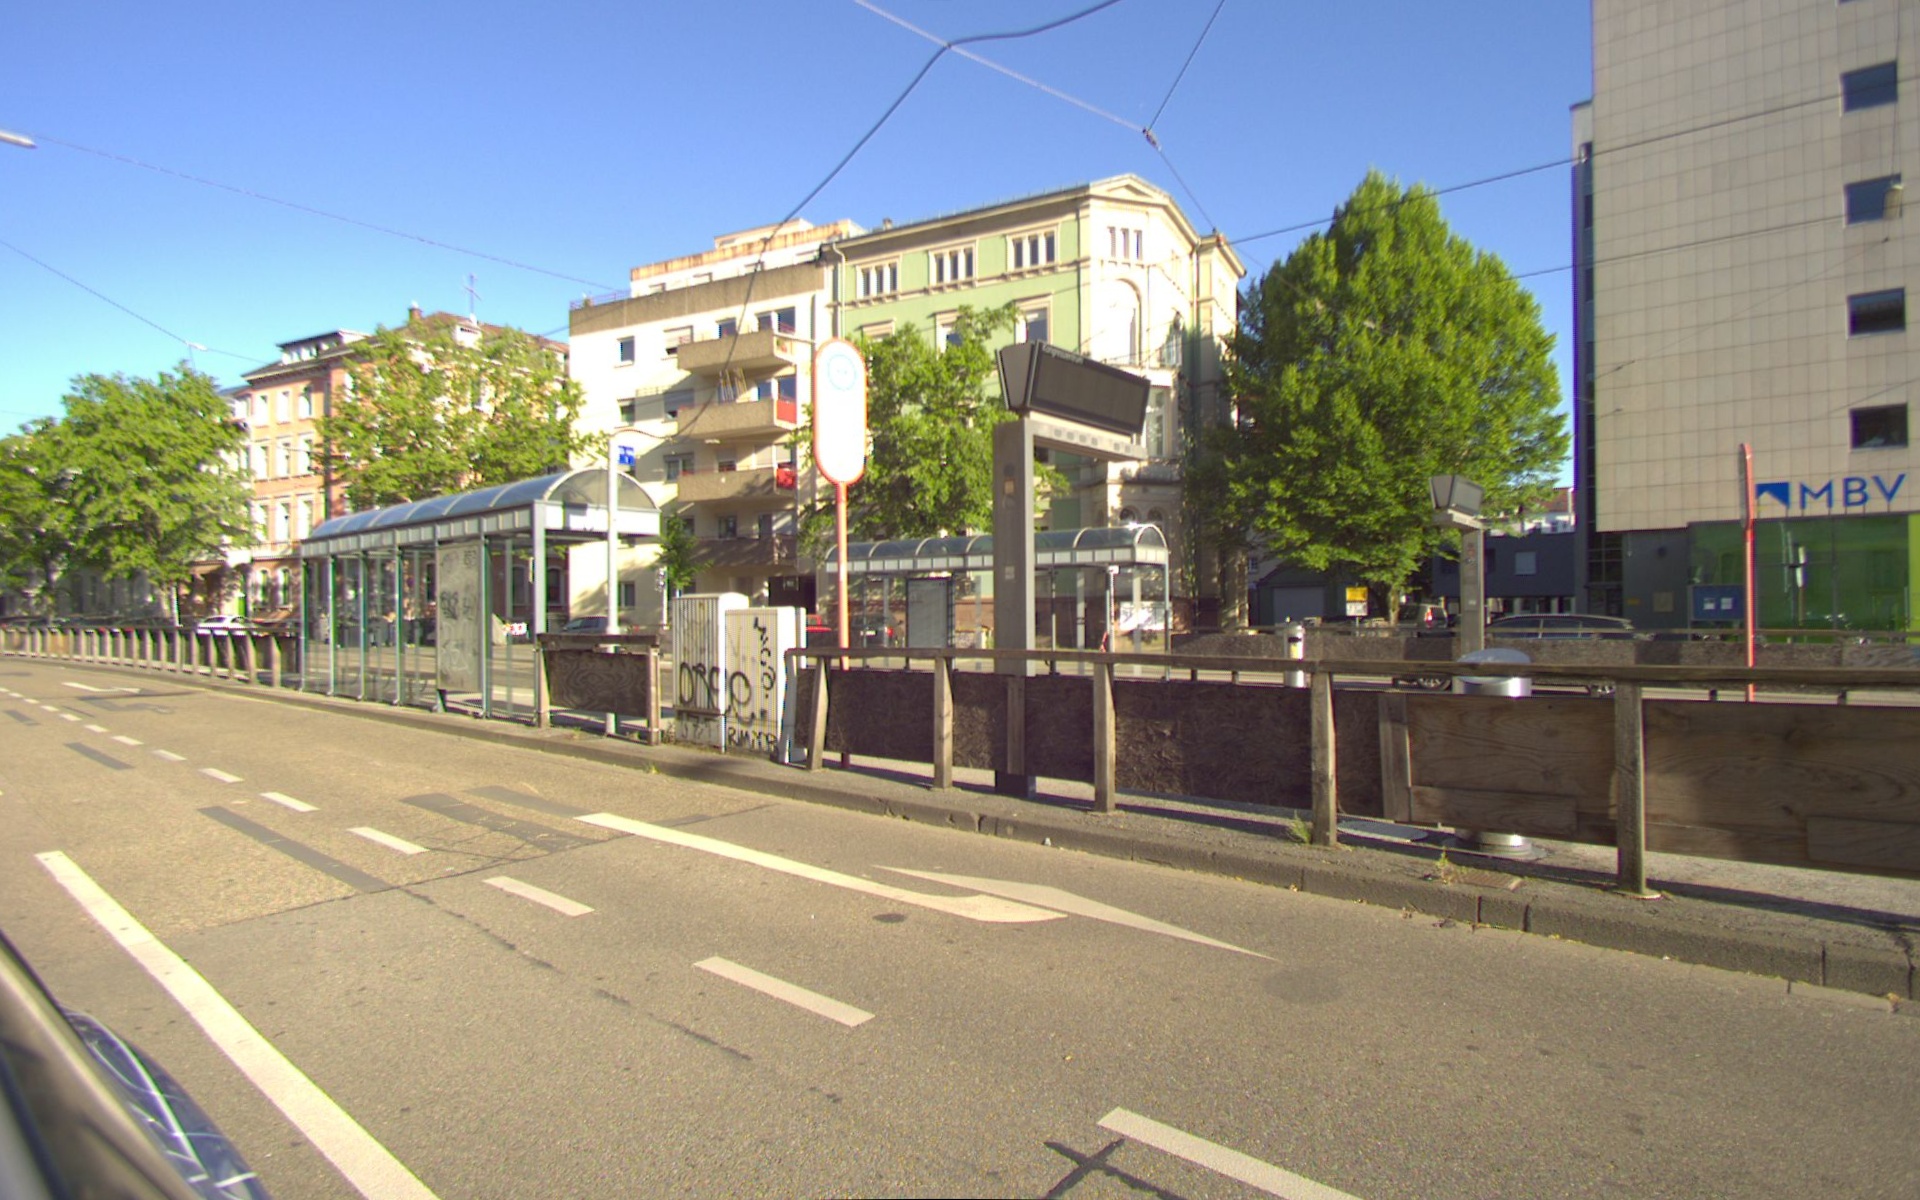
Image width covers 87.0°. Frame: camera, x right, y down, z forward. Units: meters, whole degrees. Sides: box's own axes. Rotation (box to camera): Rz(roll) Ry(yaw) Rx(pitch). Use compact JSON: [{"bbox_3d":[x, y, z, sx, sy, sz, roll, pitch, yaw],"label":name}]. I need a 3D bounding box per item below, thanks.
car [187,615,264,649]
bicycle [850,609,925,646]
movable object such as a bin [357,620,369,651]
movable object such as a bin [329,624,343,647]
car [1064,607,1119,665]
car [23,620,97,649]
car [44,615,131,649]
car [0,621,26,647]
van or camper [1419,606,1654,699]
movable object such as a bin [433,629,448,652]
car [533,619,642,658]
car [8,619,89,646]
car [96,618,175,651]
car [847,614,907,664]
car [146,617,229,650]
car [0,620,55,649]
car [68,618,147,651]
[{"bbox_3d":[-39.427,1.698,54.413,1.708,1.533,3.924,-2,1,-9],"label":"car"},{"bbox_3d":[-2.840,1.075,39.559,2.995,1.409,0.713,-1,-1,27],"label":"bicycle"},{"bbox_3d":[-28.420,1.685,48.168,0.385,1.437,0.375,-1,-1,40],"label":"movable object such as a bin"},{"bbox_3d":[-29.729,1.707,48.196,0.639,1.076,0.375,-1,-1,40],"label":"movable object such as a bin"},{"bbox_3d":[4.139,1.060,31.617,1.572,1.581,4.504,0,1,8],"label":"car"},{"bbox_3d":[-55.497,2.107,62.484,1.682,1.544,3.284,-2,2,-3],"label":"car"},{"bbox_3d":[-52.244,1.870,60.733,1.682,1.735,4.291,0,2,-4],"label":"car"},{"bbox_3d":[-64.115,2.288,66.649,1.748,1.666,3.872,-1,1,-1],"label":"car"},{"bbox_3d":[10.397,0.905,18.343,3.523,1.514,1.580,0,-3,38],"label":"van or camper"},{"bbox_3d":[-24.941,1.944,48.582,0.551,1.105,0.376,0,0,34],"label":"movable object such as a bin"},{"bbox_3d":[-14.303,1.437,38.766,4.278,1.421,1.693,-1,-1,32],"label":"car"},{"bbox_3d":[-57.704,2.035,64.133,1.745,1.496,3.823,-1,1,-1],"label":"car"},{"bbox_3d":[-46.860,1.927,57.639,1.609,1.629,3.993,-2,1,-7],"label":"car"},{"bbox_3d":[-2.779,1.241,33.886,1.845,1.436,4.521,0,1,-5],"label":"car"},{"bbox_3d":[-42.403,1.826,55.643,1.664,1.519,3.926,-2,1,-4],"label":"car"},{"bbox_3d":[-60.854,2.203,65.148,1.748,1.666,3.871,-1,1,-1],"label":"car"},{"bbox_3d":[-49.449,1.973,58.795,1.609,1.629,3.993,-2,1,-7],"label":"car"}]
